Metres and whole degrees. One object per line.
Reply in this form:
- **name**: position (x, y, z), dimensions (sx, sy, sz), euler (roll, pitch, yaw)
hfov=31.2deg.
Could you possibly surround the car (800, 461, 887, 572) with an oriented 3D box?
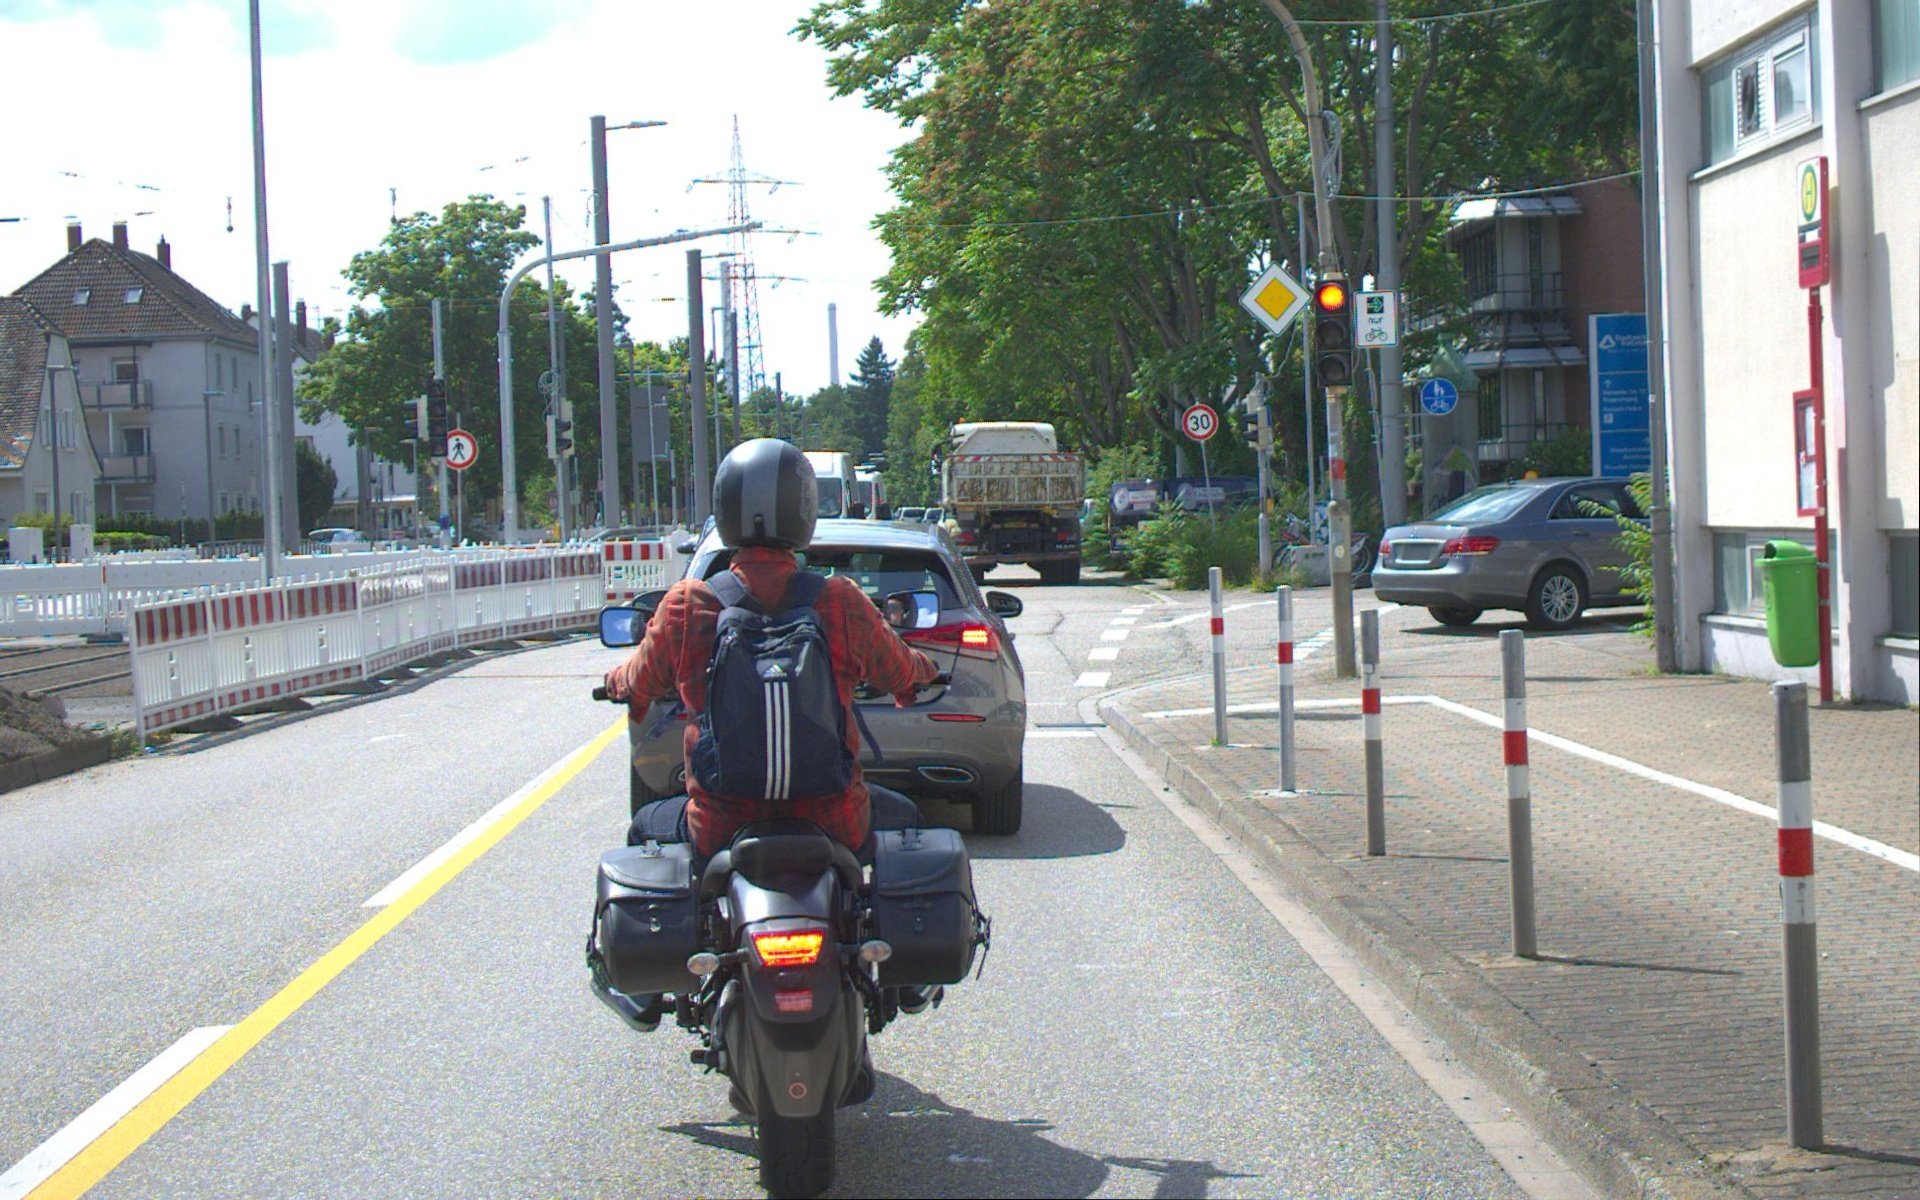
- **car**: position (-2.275, -1.632, 67.873), dimensions (1.589, 2.135, 3.627), euler (0, 1, 0)

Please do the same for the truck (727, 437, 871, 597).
- **truck**: position (-2.694, -1.475, 58.774), dimensions (2.093, 2.468, 5.197), euler (-3, 3, 0)

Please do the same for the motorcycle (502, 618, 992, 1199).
- **motorcycle**: position (-0.427, 0.683, 7.864), dimensions (0.942, 1.196, 2.473), euler (0, 2, -1)

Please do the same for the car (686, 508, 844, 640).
- **car**: position (-2.372, -0.365, 42.689), dimensions (1.645, 1.493, 4.269), euler (-1, 2, 0)

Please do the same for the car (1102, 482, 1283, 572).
- **car**: position (5.134, -1.593, 75.584), dimensions (1.802, 1.919, 3.990), euler (1, 1, 45)

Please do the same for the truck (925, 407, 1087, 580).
- **truck**: position (0.968, -2.017, 66.815), dimensions (2.967, 3.162, 7.764), euler (0, 1, 2)

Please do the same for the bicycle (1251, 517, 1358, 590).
- **bicycle**: position (5.551, -0.755, 55.482), dimensions (1.708, 1.168, 0.438), euler (0, 1, 5)

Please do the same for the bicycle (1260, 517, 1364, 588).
- **bicycle**: position (5.806, -0.777, 56.736), dimensions (1.708, 1.168, 0.438), euler (0, 1, 5)

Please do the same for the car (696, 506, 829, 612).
- **car**: position (-2.910, -0.623, 51.305), dimensions (1.744, 1.432, 4.084), euler (-3, 1, -1)

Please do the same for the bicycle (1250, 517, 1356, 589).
- **bicycle**: position (5.581, -0.764, 55.982), dimensions (1.708, 1.168, 0.438), euler (0, 1, 5)

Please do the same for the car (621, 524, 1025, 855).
- **car**: position (-0.772, 0.341, 16.811), dimensions (1.731, 1.399, 4.087), euler (0, 1, -5)

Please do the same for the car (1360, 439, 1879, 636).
- **car**: position (6.565, -0.658, 34.291), dimensions (4.702, 1.706, 1.908), euler (-3, 3, -17)

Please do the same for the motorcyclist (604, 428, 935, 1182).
- **motorcyclist**: position (-0.408, 0.429, 7.627), dimensions (0.698, 1.599, 0.692), euler (0, 1, -1)
